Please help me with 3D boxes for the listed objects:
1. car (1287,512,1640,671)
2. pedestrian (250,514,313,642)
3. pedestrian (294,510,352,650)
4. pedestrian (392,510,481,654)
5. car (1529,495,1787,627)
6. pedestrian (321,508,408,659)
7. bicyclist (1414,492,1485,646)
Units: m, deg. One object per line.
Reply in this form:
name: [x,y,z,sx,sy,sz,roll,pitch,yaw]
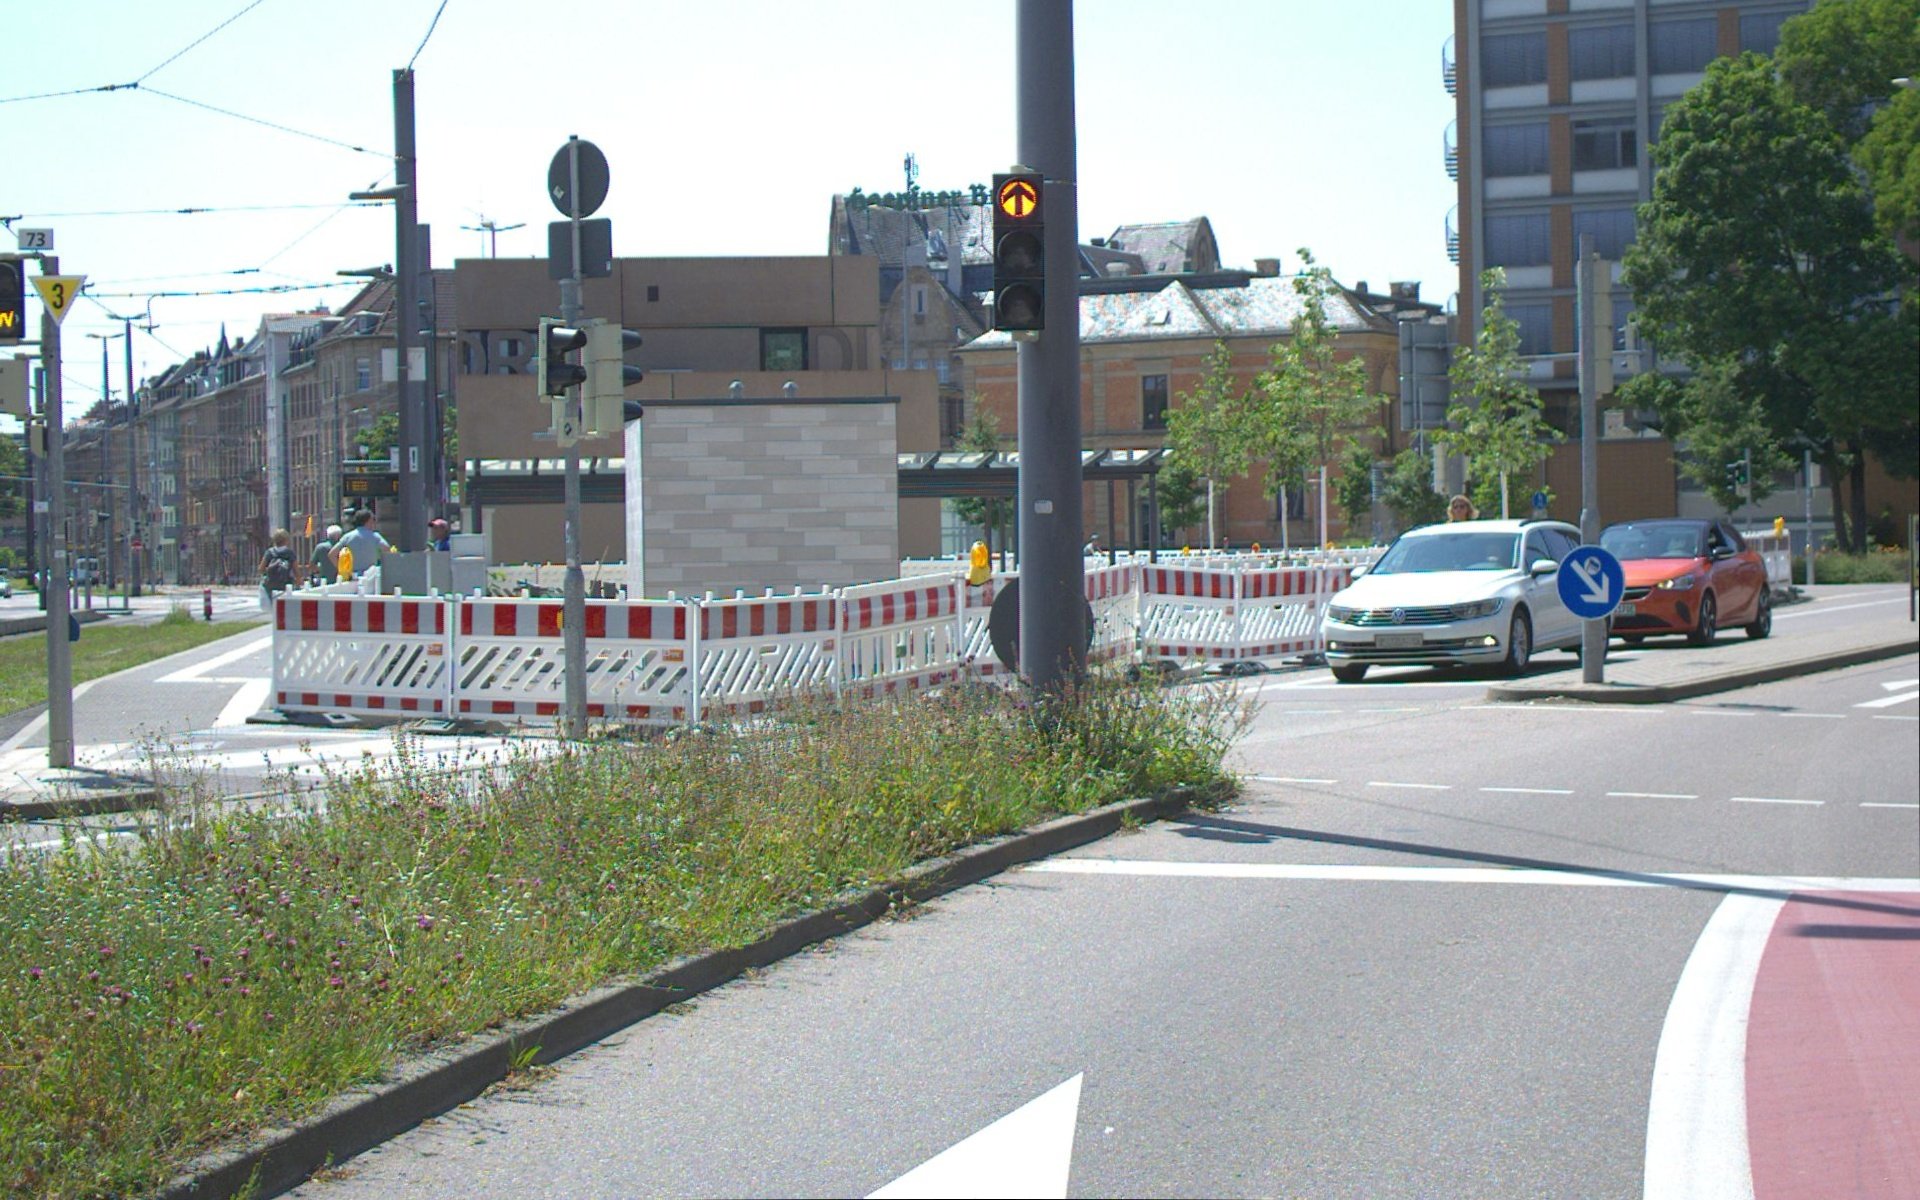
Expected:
car: [5.003,-0.101,33.578,1.996,1.433,4.698,-1,0,27]
pedestrian: [-9.149,-0.295,46.342,0.726,1.701,0.744,-1,0,-19]
pedestrian: [-8.843,-0.271,47.696,0.719,1.917,1.074,-1,0,-13]
pedestrian: [-6.772,-0.241,44.460,0.977,1.826,0.634,-2,1,-22]
car: [8.084,-0.457,39.549,1.734,1.420,4.117,-1,0,29]
pedestrian: [-7.441,-0.206,42.991,0.730,1.858,0.765,-1,0,41]
bicyclist: [5.566,-0.357,39.069,0.568,1.713,0.506,4,4,33]
